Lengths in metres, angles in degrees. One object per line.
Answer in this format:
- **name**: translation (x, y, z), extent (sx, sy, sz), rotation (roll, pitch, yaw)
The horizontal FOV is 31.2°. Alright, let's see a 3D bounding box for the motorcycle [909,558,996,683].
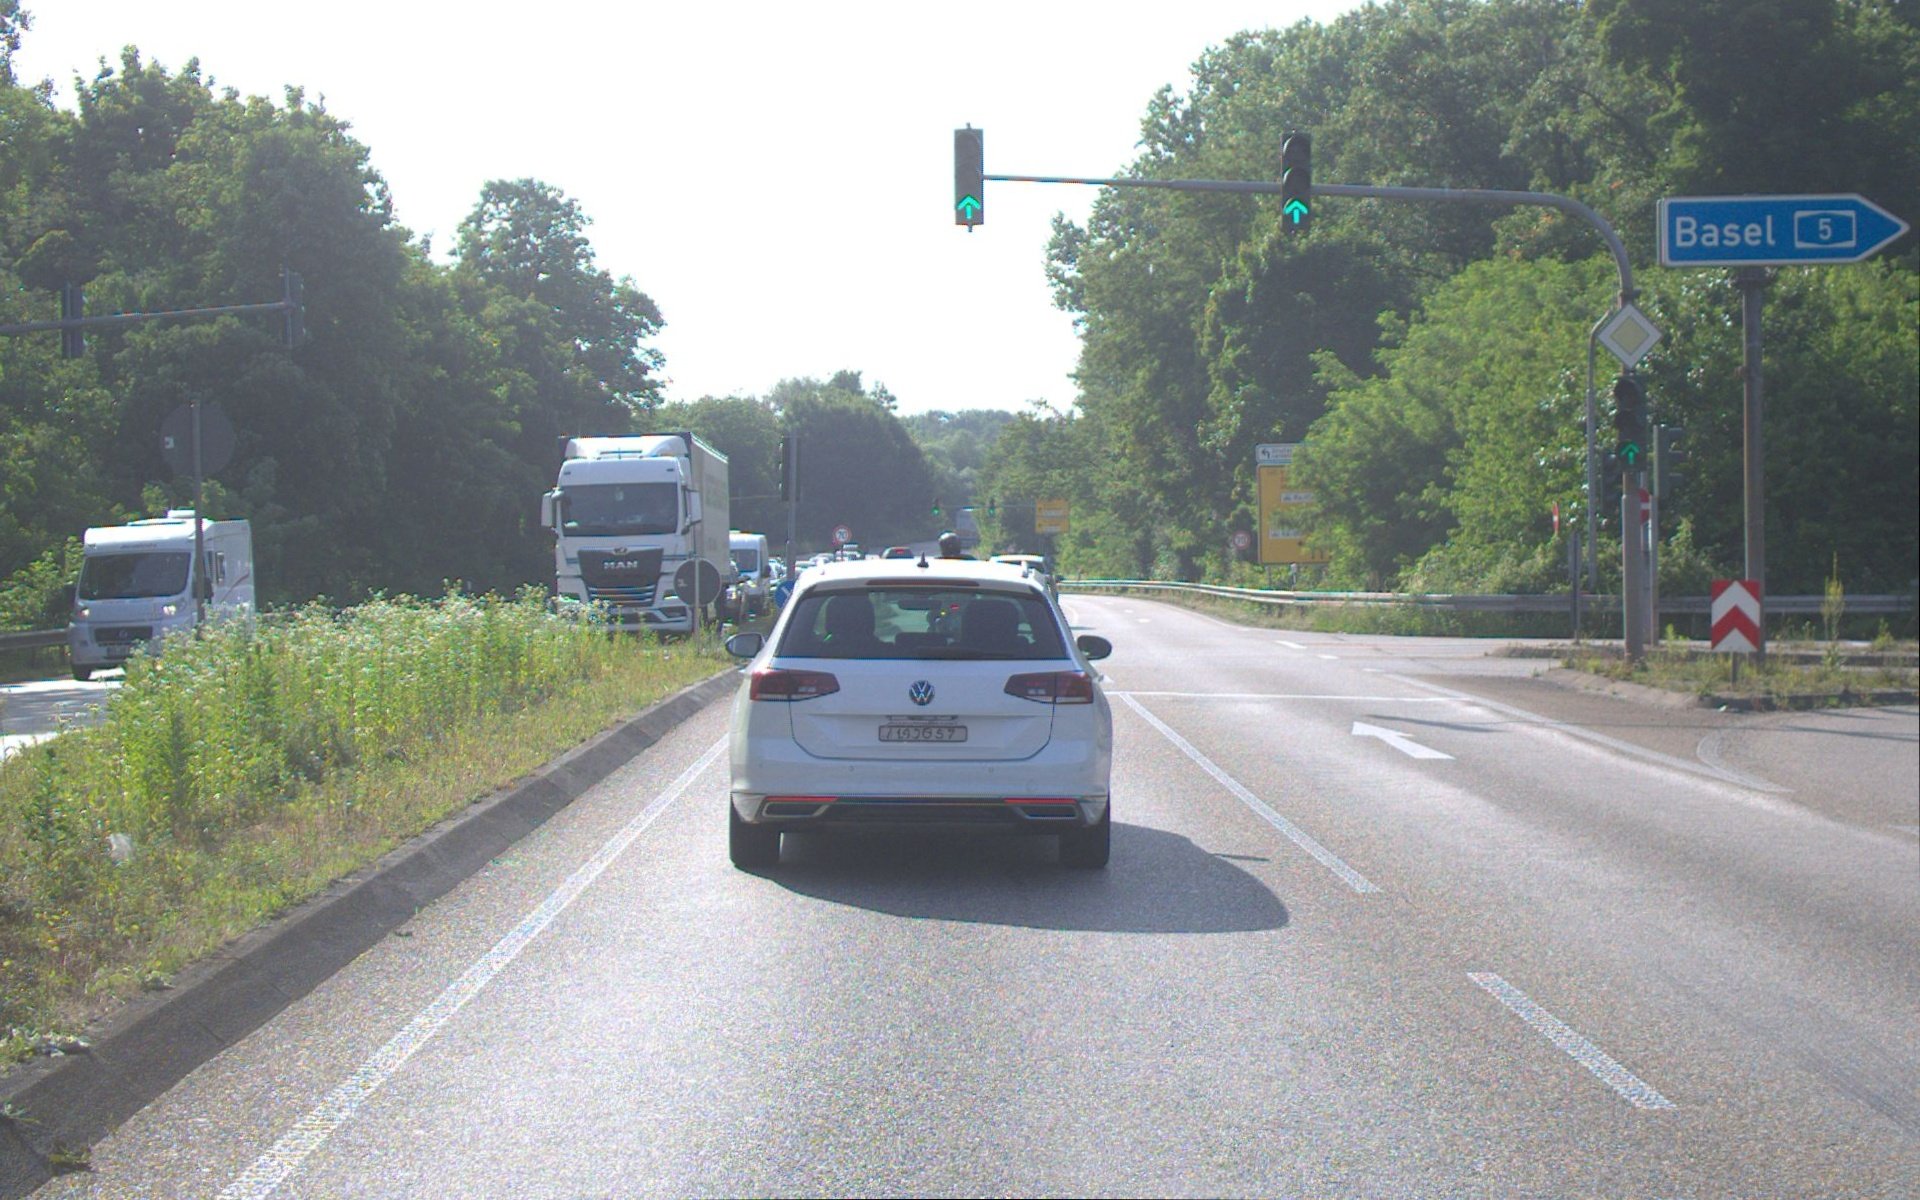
- **motorcycle**: translation (-0.078, 0.229, 43.219), extent (0.909, 1.448, 2.689), rotation (-3, 1, 2)

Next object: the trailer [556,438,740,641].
- **trailer**: translation (-6.557, -1.279, 74.320), extent (2.991, 3.982, 14.015), rotation (0, 1, -1)

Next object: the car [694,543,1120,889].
- **car**: translation (-0.228, 0.480, 17.622), extent (1.870, 1.516, 4.834), rotation (1, 1, 0)

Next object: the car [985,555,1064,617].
- **car**: translation (1.484, -0.347, 79.841), extent (1.761, 1.375, 3.971), rotation (1, 1, 1)

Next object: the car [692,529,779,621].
- **car**: translation (-6.516, -0.753, 100.460), extent (2.075, 2.525, 6.164), rotation (-2, 1, 0)

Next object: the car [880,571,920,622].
- **car**: translation (-3.509, -0.219, 203.175), extent (2.210, 2.879, 7.011), rotation (-2, 1, 0)

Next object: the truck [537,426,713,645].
- **truck**: translation (-6.404, -1.225, 66.635), extent (2.890, 3.984, 6.722), rotation (1, 1, -2)

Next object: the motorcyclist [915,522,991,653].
- **motorcyclist**: translation (-0.080, -0.166, 43.330), extent (0.884, 1.610, 1.290), rotation (1, 1, 2)

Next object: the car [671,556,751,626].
- **car**: translation (-6.052, -0.238, 83.885), extent (1.700, 1.626, 4.371), rotation (-2, 1, -1)

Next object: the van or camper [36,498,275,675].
- **van or camper**: translation (-13.545, -0.250, 58.351), extent (2.413, 2.701, 6.437), rotation (-3, 1, 0)
